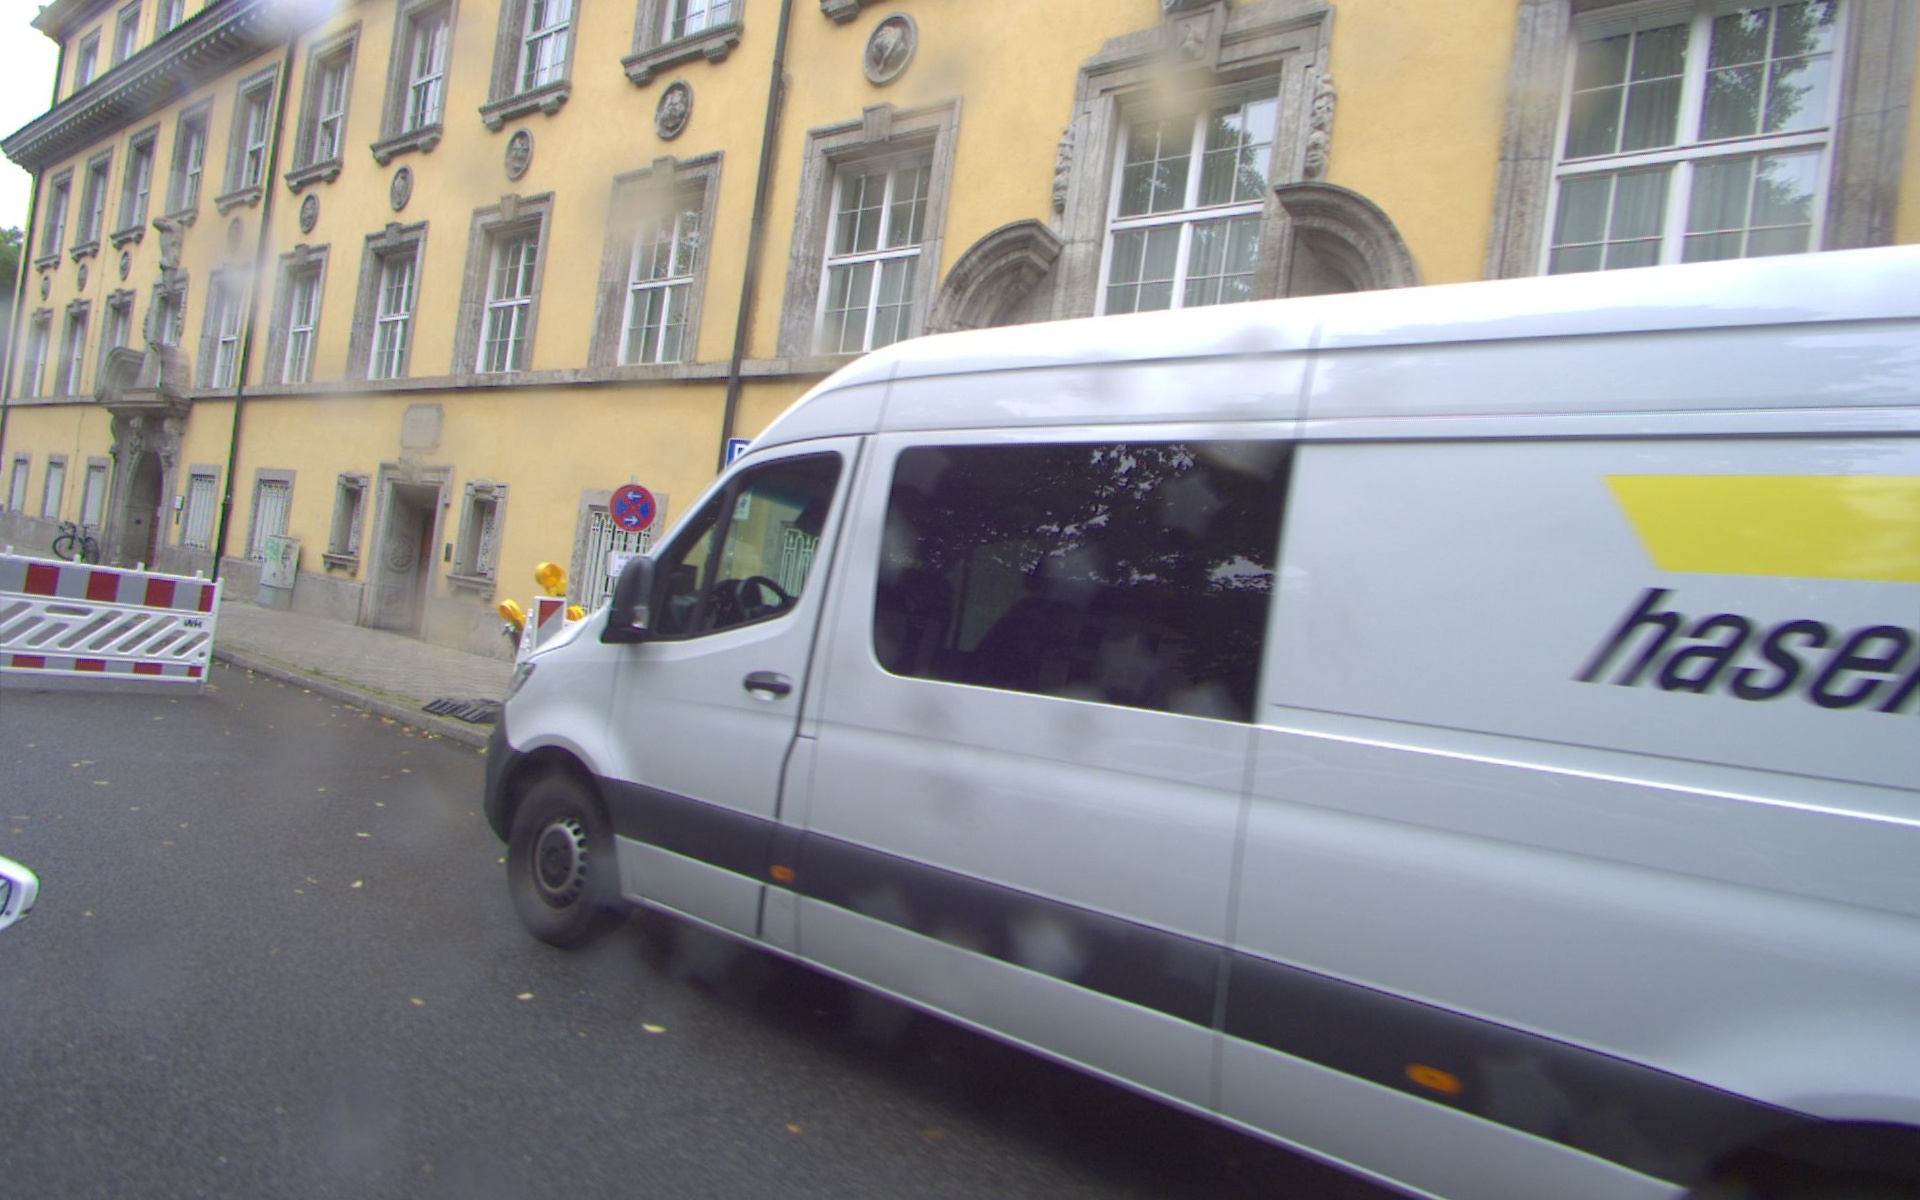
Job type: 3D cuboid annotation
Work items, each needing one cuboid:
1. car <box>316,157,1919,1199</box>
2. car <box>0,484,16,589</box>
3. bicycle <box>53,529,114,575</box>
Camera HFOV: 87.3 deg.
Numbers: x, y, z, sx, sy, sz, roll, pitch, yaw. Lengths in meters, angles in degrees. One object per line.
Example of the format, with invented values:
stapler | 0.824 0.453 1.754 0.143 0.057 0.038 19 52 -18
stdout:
car | 0.623 0.435 3.820 7.491 2.704 2.057 6 -2 33
car | -18.545 -1.327 17.731 4.287 1.770 1.742 5 -2 34
bicycle | -23.236 -1.284 26.647 2.025 1.018 0.680 6 -2 35
